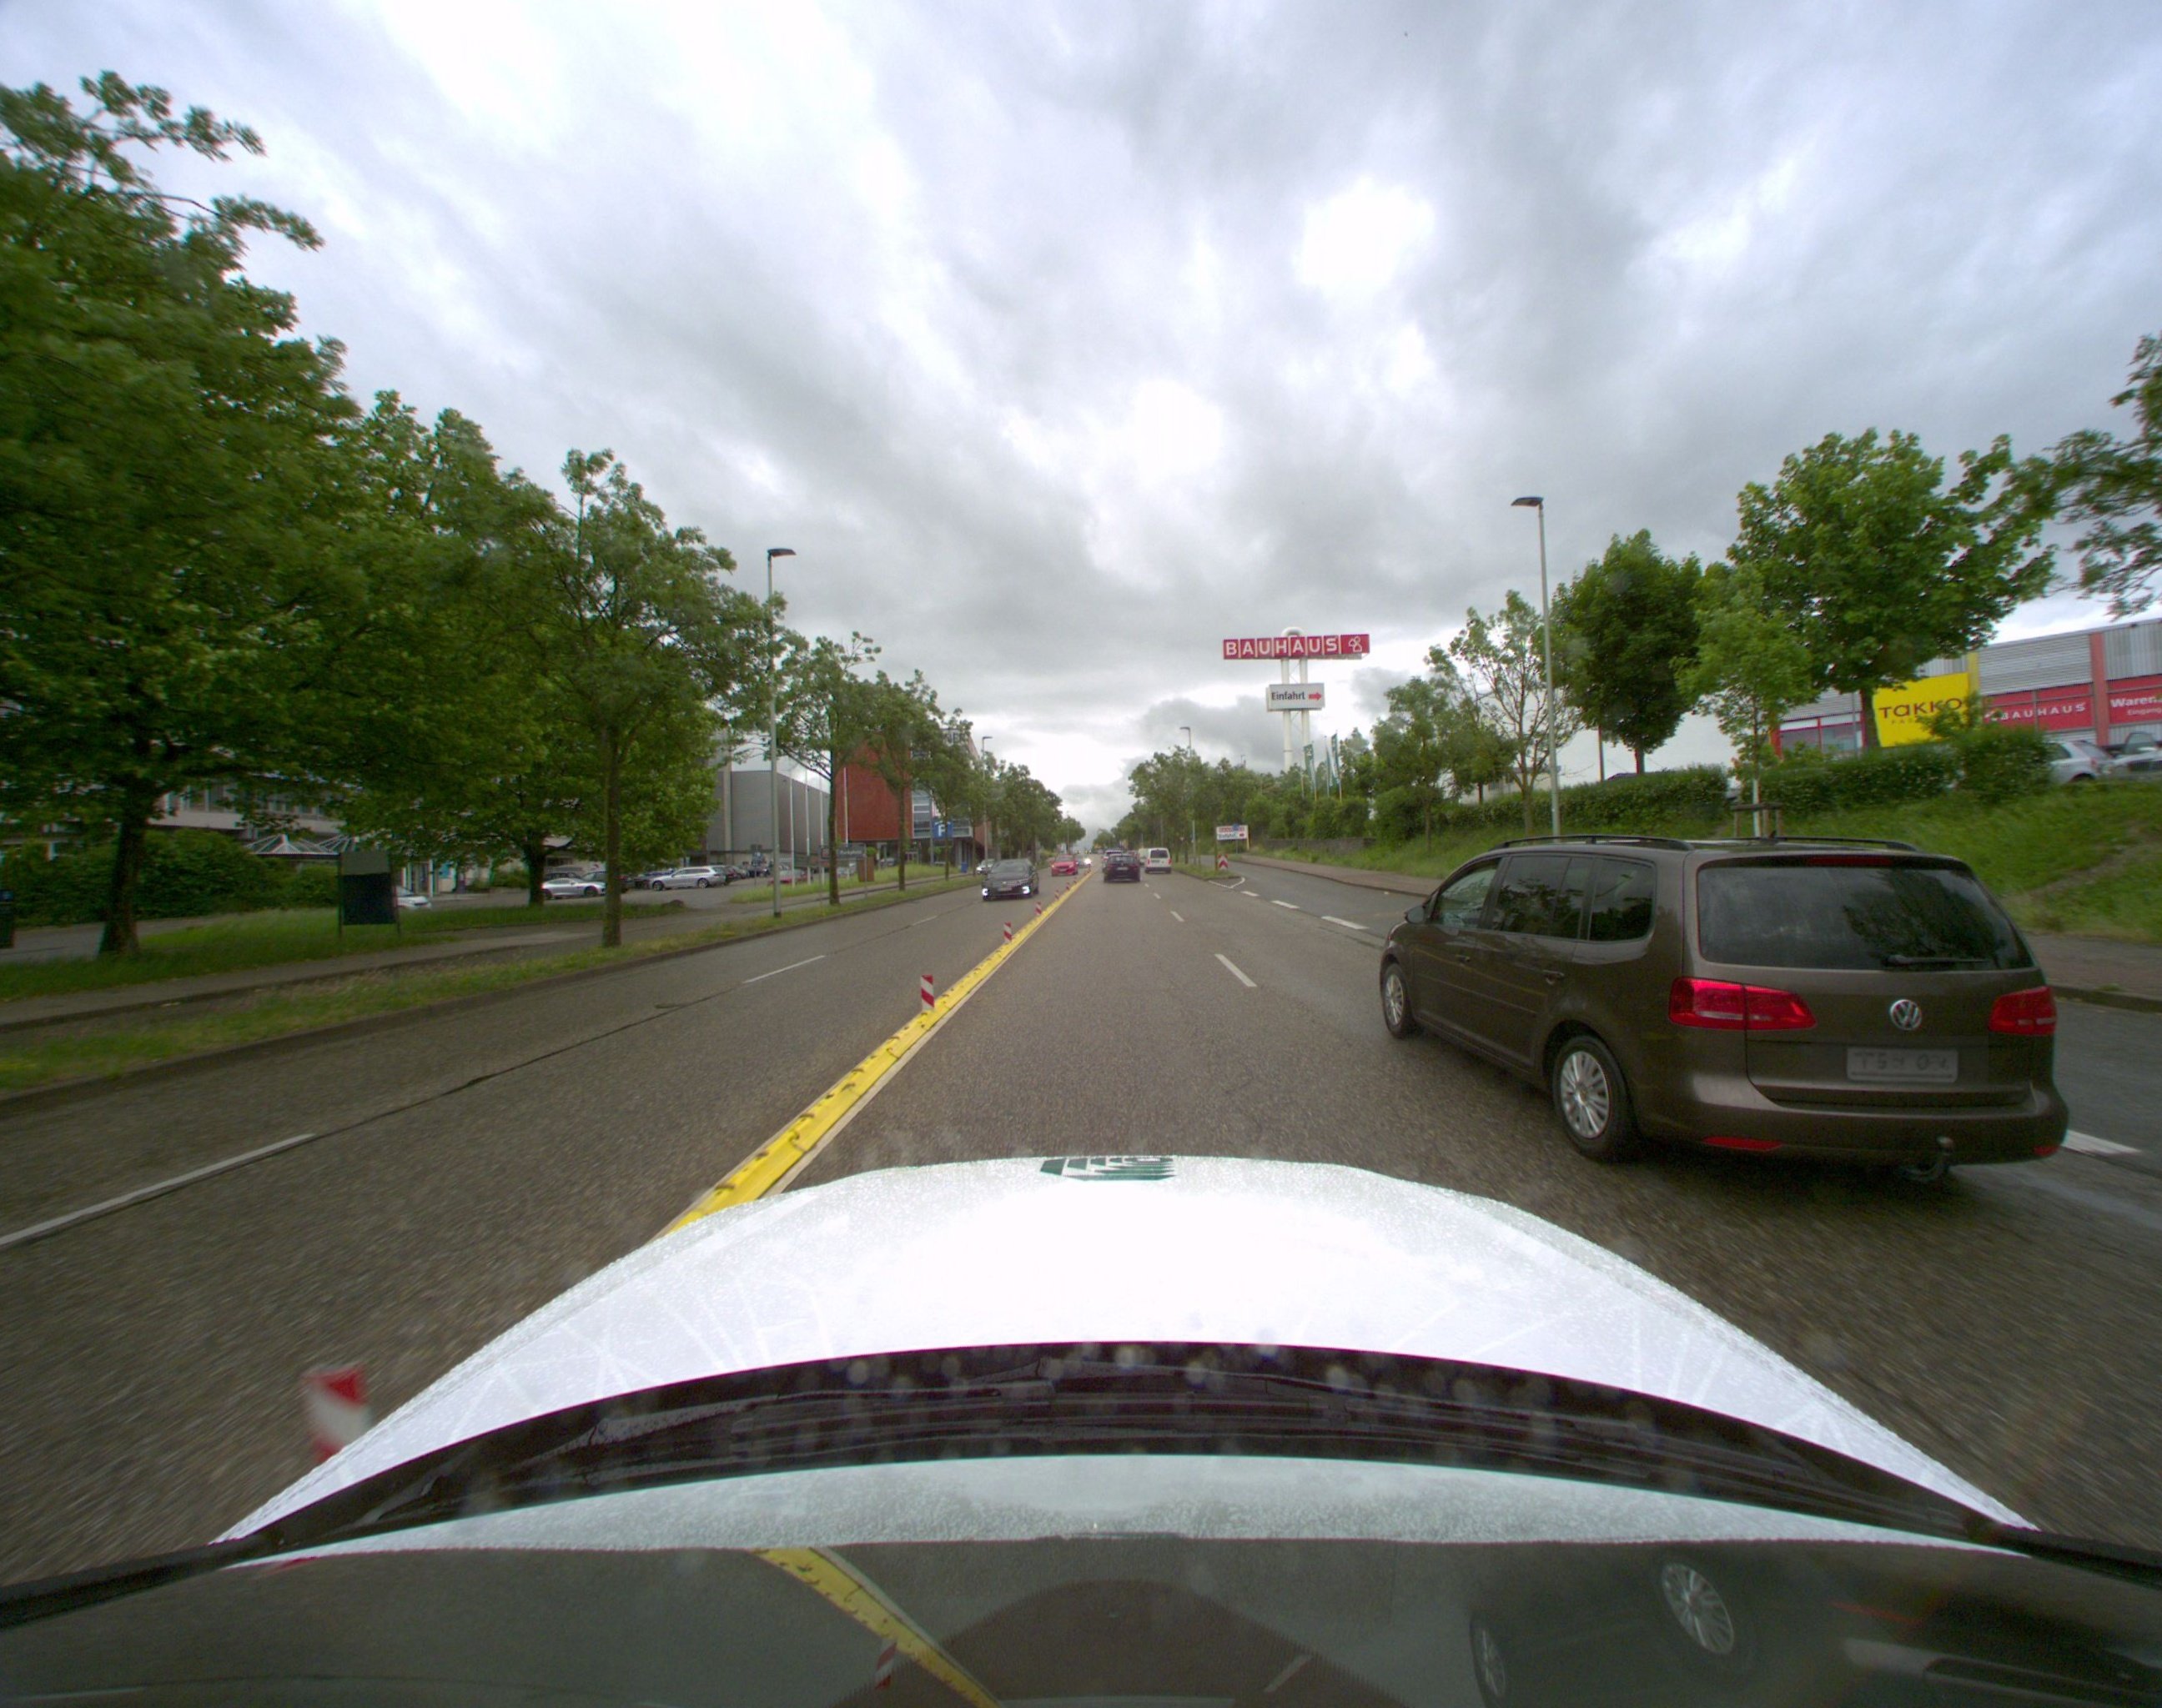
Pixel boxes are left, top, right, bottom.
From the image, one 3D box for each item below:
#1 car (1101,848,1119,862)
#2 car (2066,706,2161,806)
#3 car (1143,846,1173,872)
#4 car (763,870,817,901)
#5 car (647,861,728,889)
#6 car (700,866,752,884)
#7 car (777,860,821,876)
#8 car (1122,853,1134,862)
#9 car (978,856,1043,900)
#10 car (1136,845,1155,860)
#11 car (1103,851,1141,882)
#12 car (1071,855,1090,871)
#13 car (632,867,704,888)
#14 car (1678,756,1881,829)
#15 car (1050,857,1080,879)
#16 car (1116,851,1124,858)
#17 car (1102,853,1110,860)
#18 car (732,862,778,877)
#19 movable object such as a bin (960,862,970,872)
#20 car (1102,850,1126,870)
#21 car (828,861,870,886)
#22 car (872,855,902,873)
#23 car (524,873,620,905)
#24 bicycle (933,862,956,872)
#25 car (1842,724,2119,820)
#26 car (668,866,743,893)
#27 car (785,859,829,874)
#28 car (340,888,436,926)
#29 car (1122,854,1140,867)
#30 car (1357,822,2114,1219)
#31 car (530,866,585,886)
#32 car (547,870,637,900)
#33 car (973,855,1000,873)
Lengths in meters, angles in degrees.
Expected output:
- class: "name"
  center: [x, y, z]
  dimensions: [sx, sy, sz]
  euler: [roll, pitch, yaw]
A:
- class: "car"
  center: [3.022, 0.142, 86.165]
  dimensions: [1.788, 1.510, 4.000]
  euler: [0, -1, 1]
- class: "car"
  center: [20.677, -1.912, 14.404]
  dimensions: [4.339, 1.629, 1.925]
  euler: [-5, 0, -4]
- class: "car"
  center: [5.451, 0.339, 57.738]
  dimensions: [1.820, 1.759, 4.001]
  euler: [0, 0, 1]
- class: "car"
  center: [-18.300, 1.950, 51.414]
  dimensions: [1.928, 1.608, 4.706]
  euler: [-1, 1, -3]
- class: "car"
  center: [-27.132, 1.453, 56.246]
  dimensions: [4.594, 1.745, 1.963]
  euler: [-1, 1, -7]
- class: "car"
  center: [-34.290, 2.012, 78.745]
  dimensions: [4.271, 1.510, 1.843]
  euler: [-1, 1, -7]
- class: "car"
  center: [-29.688, 1.444, 85.856]
  dimensions: [4.104, 1.510, 1.815]
  euler: [-1, 1, -7]
- class: "car"
  center: [7.833, 0.648, 135.518]
  dimensions: [1.789, 1.510, 3.998]
  euler: [0, -1, -1]
- class: "car"
  center: [-2.635, 0.860, 31.397]
  dimensions: [1.819, 1.466, 4.620]
  euler: [-2, 0, 3]
- class: "car"
  center: [6.401, -0.132, 81.323]
  dimensions: [1.787, 1.510, 4.002]
  euler: [0, -1, 2]
- class: "car"
  center: [2.148, 0.613, 42.371]
  dimensions: [1.819, 1.468, 4.004]
  euler: [-2, 0, 3]
- class: "car"
  center: [-0.069, 0.913, 84.758]
  dimensions: [1.660, 1.410, 4.380]
  euler: [-4, 0, 3]
- class: "car"
  center: [-32.731, 1.865, 64.686]
  dimensions: [4.605, 1.510, 2.021]
  euler: [-1, 1, -7]
- class: "car"
  center: [20.334, -1.758, 23.815]
  dimensions: [4.339, 1.629, 1.925]
  euler: [-5, 0, -4]
- class: "car"
  center: [-1.135, 1.001, 58.904]
  dimensions: [1.754, 1.425, 4.184]
  euler: [-3, 0, 4]
- class: "car"
  center: [8.864, 0.197, 184.714]
  dimensions: [1.788, 1.510, 4.000]
  euler: [0, -1, 0]
- class: "car"
  center: [5.715, 0.544, 184.579]
  dimensions: [1.788, 1.510, 4.000]
  euler: [0, -1, 0]
- class: "car"
  center: [-34.095, 1.612, 85.272]
  dimensions: [4.104, 1.510, 1.815]
  euler: [-1, 1, -7]
- class: "movable object such as a bin"
  center: [-12.229, 1.358, 85.630]
  dimensions: [0.816, 1.079, 1.086]
  euler: [2, 0, 2]
- class: "car"
  center: [2.554, 0.468, 62.465]
  dimensions: [1.787, 1.510, 4.002]
  euler: [0, -1, 2]
- class: "car"
  center: [-18.703, 1.533, 65.906]
  dimensions: [2.033, 1.762, 4.944]
  euler: [-1, 1, -1]
- class: "car"
  center: [-20.565, 1.032, 86.482]
  dimensions: [2.131, 1.773, 4.607]
  euler: [-1, 1, 0]
- class: "car"
  center: [-31.659, 2.142, 50.754]
  dimensions: [4.599, 1.745, 1.961]
  euler: [-1, 1, -10]
- class: "bicycle"
  center: [-14.186, 1.307, 84.725]
  dimensions: [2.066, 0.935, 1.095]
  euler: [3, 0, 5]
- class: "car"
  center: [20.402, -1.822, 18.594]
  dimensions: [4.339, 1.629, 1.925]
  euler: [-5, 0, -4]
- class: "car"
  center: [-27.200, 1.813, 59.102]
  dimensions: [4.494, 1.745, 1.896]
  euler: [-1, 1, -7]
- class: "car"
  center: [-29.660, 1.336, 88.241]
  dimensions: [4.186, 1.510, 1.815]
  euler: [-1, 1, -7]
- class: "car"
  center: [-30.878, 2.359, 36.349]
  dimensions: [2.694, 1.365, 1.606]
  euler: [-4, 2, -9]
- class: "car"
  center: [5.821, 0.758, 95.703]
  dimensions: [1.789, 1.510, 3.998]
  euler: [0, -1, -1]
- class: "car"
  center: [3.341, 0.675, 5.383]
  dimensions: [1.679, 1.581, 4.219]
  euler: [0, 0, 1]
- class: "car"
  center: [-50.467, 2.100, 78.595]
  dimensions: [3.981, 1.732, 1.797]
  euler: [-1, 1, -5]
- class: "car"
  center: [-32.129, 2.030, 53.636]
  dimensions: [4.599, 1.745, 2.127]
  euler: [-1, 1, -10]
- class: "car"
  center: [-9.264, 0.955, 80.321]
  dimensions: [1.860, 1.553, 4.577]
  euler: [-4, 0, 2]
